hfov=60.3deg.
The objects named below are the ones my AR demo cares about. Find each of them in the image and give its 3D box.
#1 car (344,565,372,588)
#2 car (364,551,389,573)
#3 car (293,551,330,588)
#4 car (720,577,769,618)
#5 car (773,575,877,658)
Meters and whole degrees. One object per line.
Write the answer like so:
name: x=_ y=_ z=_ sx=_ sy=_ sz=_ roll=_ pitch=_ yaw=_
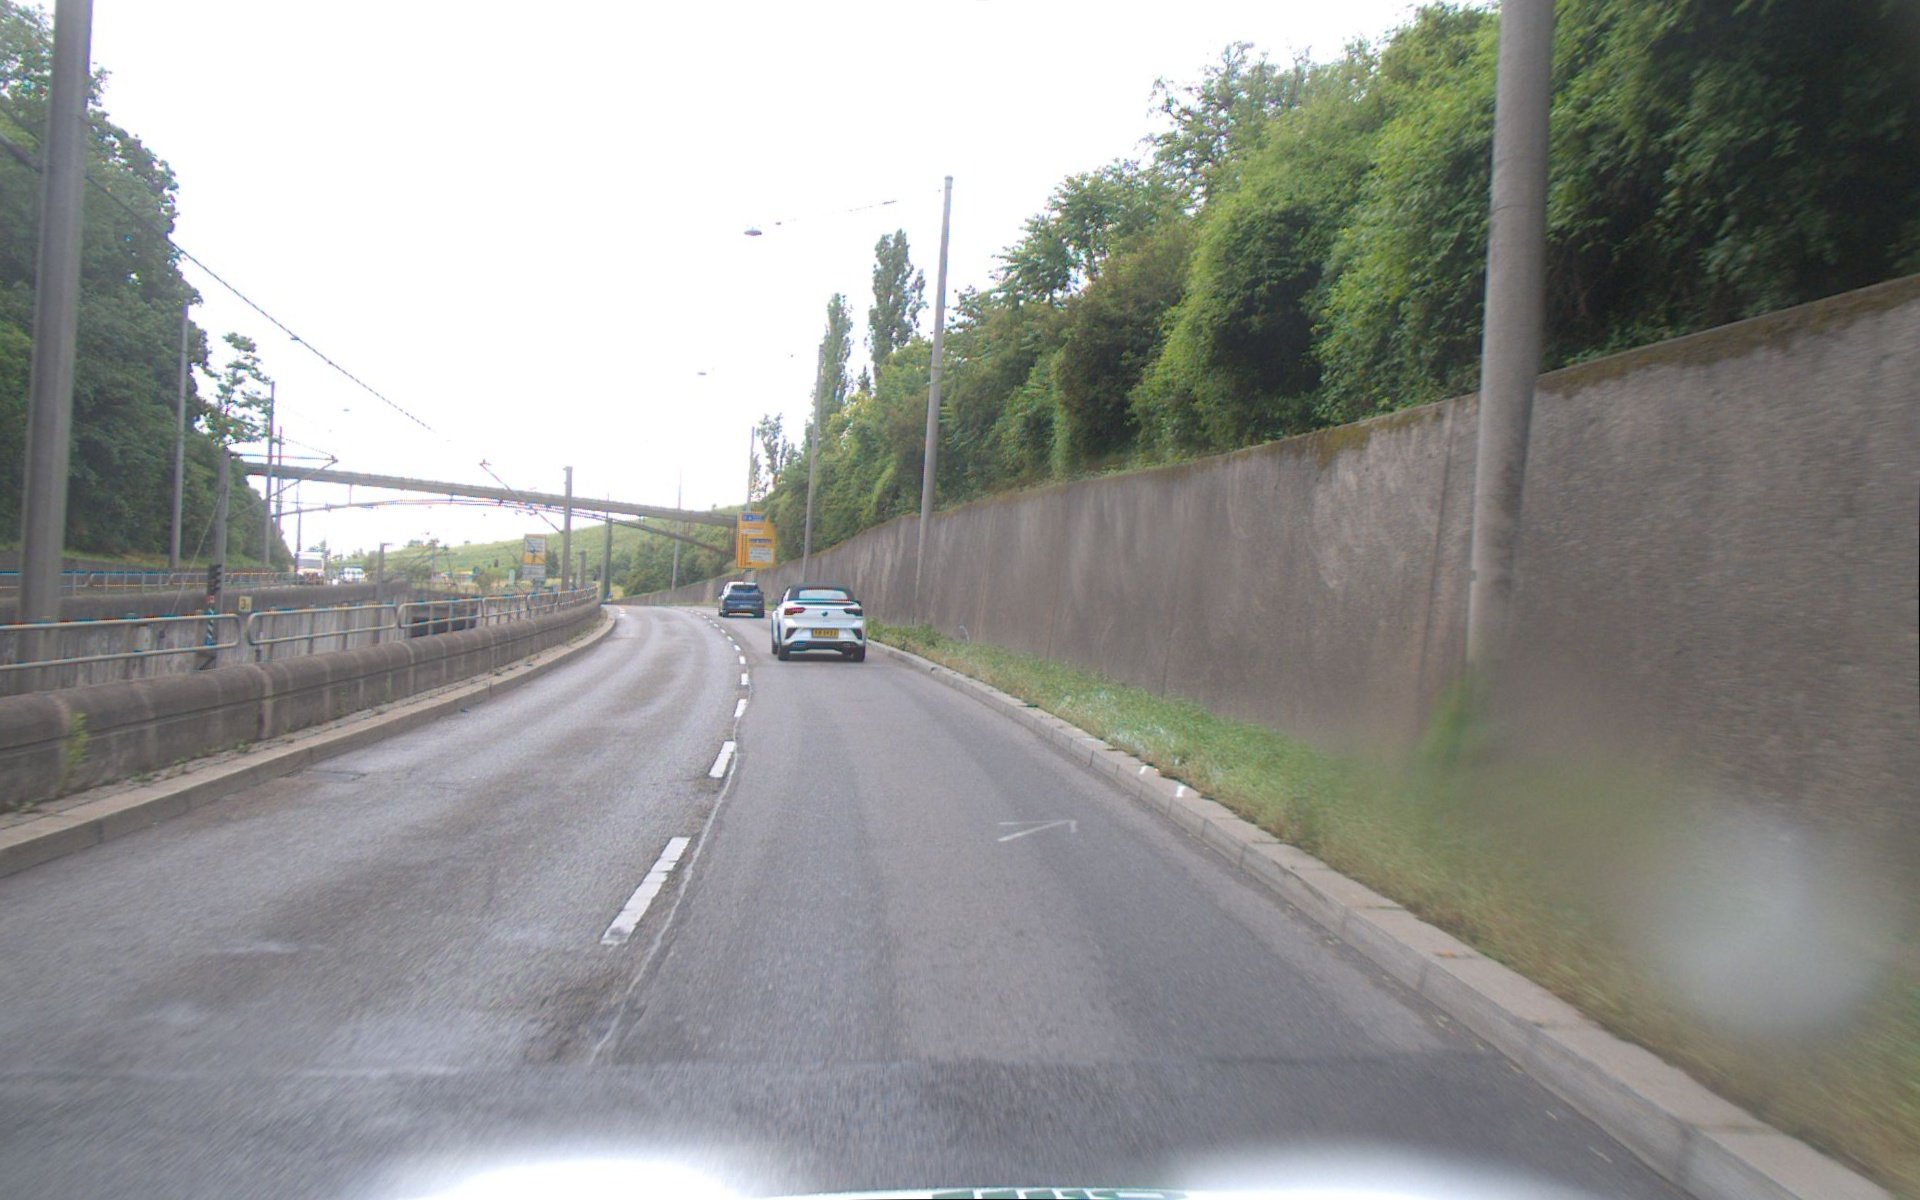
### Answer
car: x=-45.674 y=-1.780 z=125.531 sx=1.789 sy=1.734 sz=4.091 roll=1 pitch=0 yaw=-17
car: x=-49.869 y=-3.202 z=141.382 sx=1.931 sy=1.780 sz=4.119 roll=1 pitch=0 yaw=-19
car: x=-50.913 y=-2.374 z=129.899 sx=2.148 sy=2.782 sz=6.314 roll=1 pitch=0 yaw=-17
car: x=-9.068 y=-0.119 z=69.793 sx=1.889 sy=1.627 sz=4.057 roll=1 pitch=1 yaw=-5
car: x=-2.861 y=0.302 z=34.252 sx=1.958 sy=1.606 sz=4.119 roll=1 pitch=1 yaw=-7
